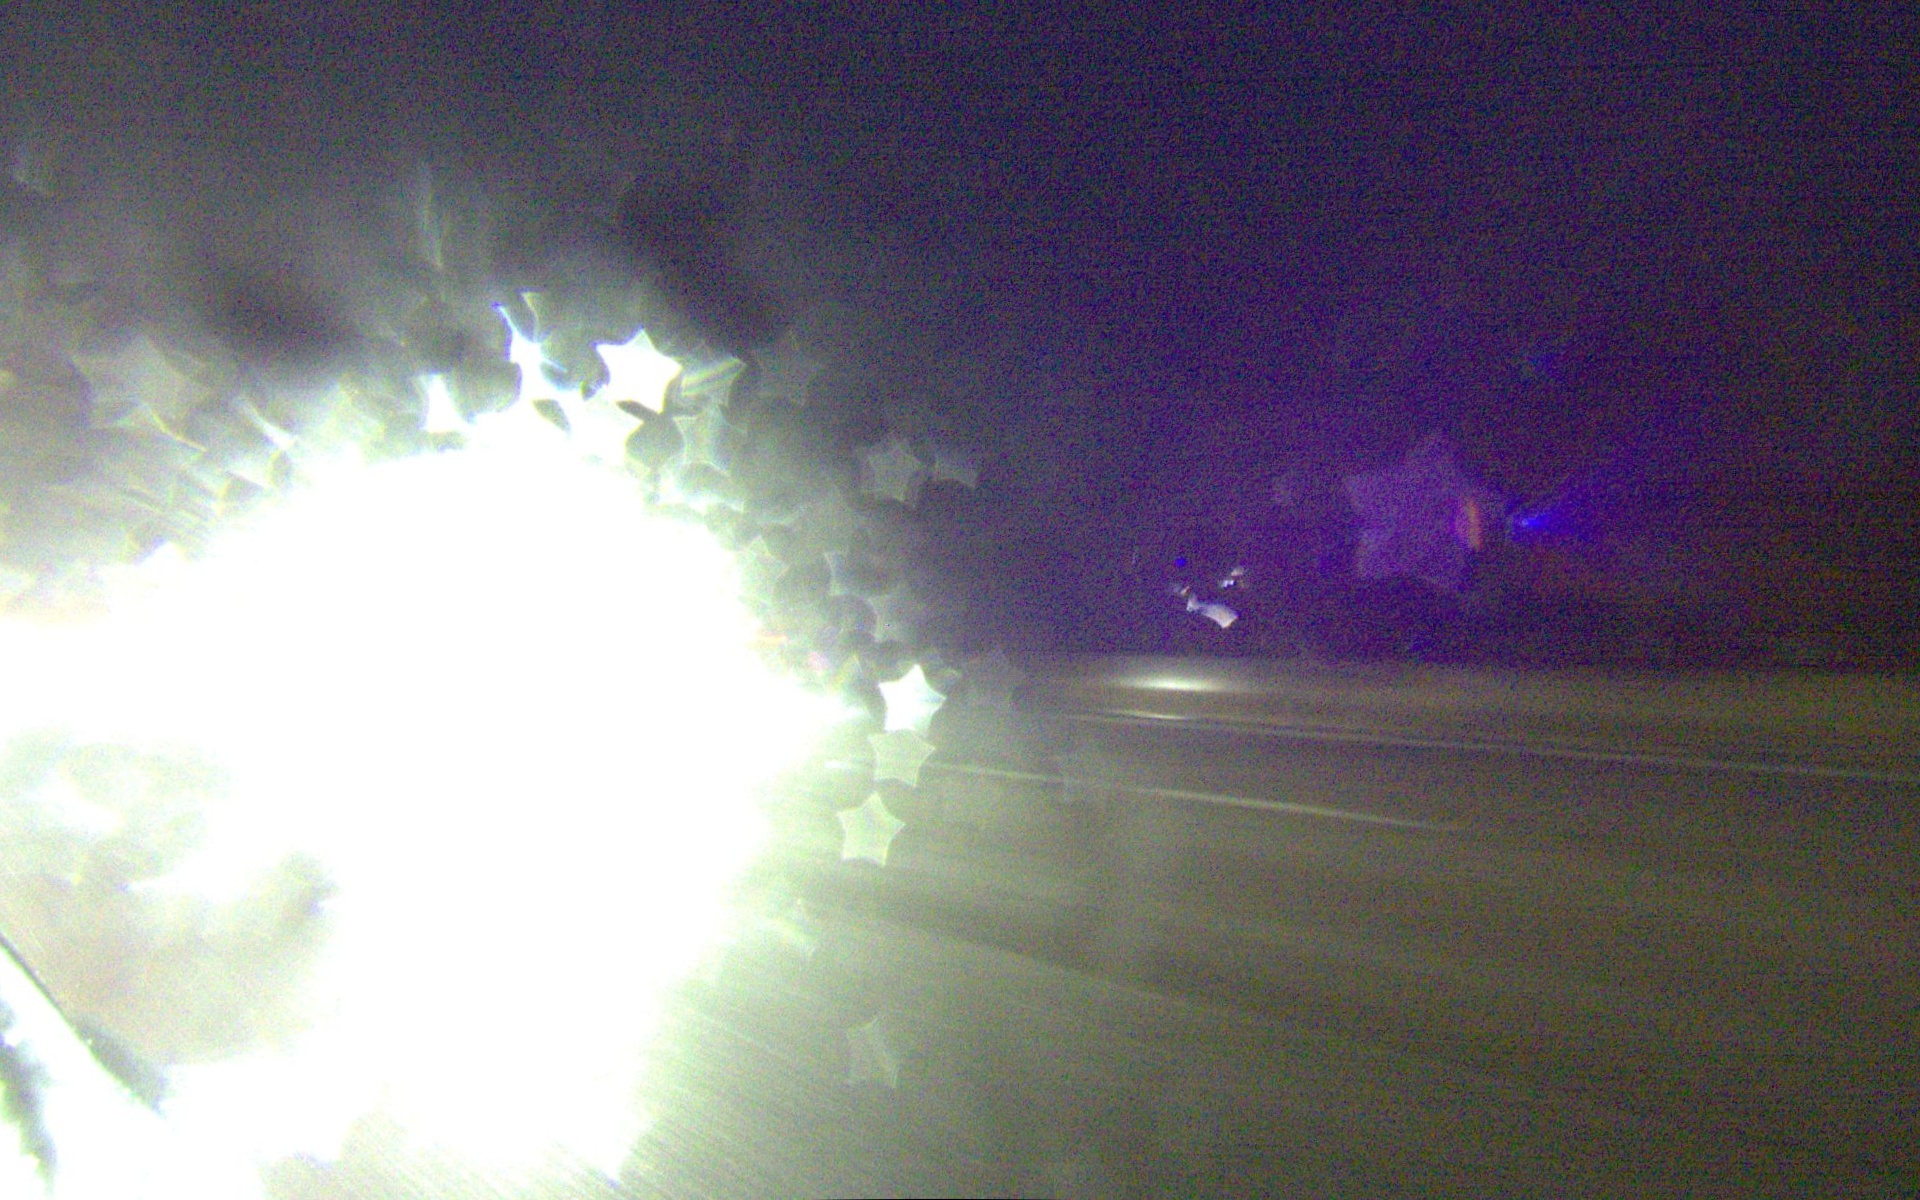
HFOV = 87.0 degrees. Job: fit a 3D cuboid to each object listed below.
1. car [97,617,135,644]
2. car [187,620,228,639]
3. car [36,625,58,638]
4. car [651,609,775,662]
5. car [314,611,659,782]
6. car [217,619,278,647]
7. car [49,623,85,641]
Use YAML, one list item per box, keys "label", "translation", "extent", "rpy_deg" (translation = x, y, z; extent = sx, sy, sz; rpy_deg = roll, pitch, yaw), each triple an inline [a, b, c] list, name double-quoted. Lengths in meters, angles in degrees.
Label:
- label: "car"
  translation: [-78.405, 2.812, 94.016]
  extent: [4.842, 2.419, 1.949]
  rpy_deg: [-1, 0, 41]
- label: "car"
  translation: [-64.951, 2.558, 87.306]
  extent: [4.344, 1.529, 1.788]
  rpy_deg: [-1, 0, 39]
- label: "car"
  translation: [-125.763, 4.351, 139.369]
  extent: [3.884, 1.685, 1.745]
  rpy_deg: [-1, 0, 40]
- label: "car"
  translation: [-8.610, 1.204, 35.157]
  extent: [4.342, 1.685, 1.974]
  rpy_deg: [-1, 0, 39]
- label: "car"
  translation: [-5.119, 0.884, 10.675]
  extent: [4.242, 1.441, 1.640]
  rpy_deg: [-2, -1, 39]
- label: "car"
  translation: [-41.594, 1.913, 59.051]
  extent: [4.344, 1.529, 1.788]
  rpy_deg: [-1, 0, 39]
- label: "car"
  translation: [-77.696, 2.778, 88.061]
  extent: [4.671, 1.405, 1.734]
  rpy_deg: [-1, 0, 41]
